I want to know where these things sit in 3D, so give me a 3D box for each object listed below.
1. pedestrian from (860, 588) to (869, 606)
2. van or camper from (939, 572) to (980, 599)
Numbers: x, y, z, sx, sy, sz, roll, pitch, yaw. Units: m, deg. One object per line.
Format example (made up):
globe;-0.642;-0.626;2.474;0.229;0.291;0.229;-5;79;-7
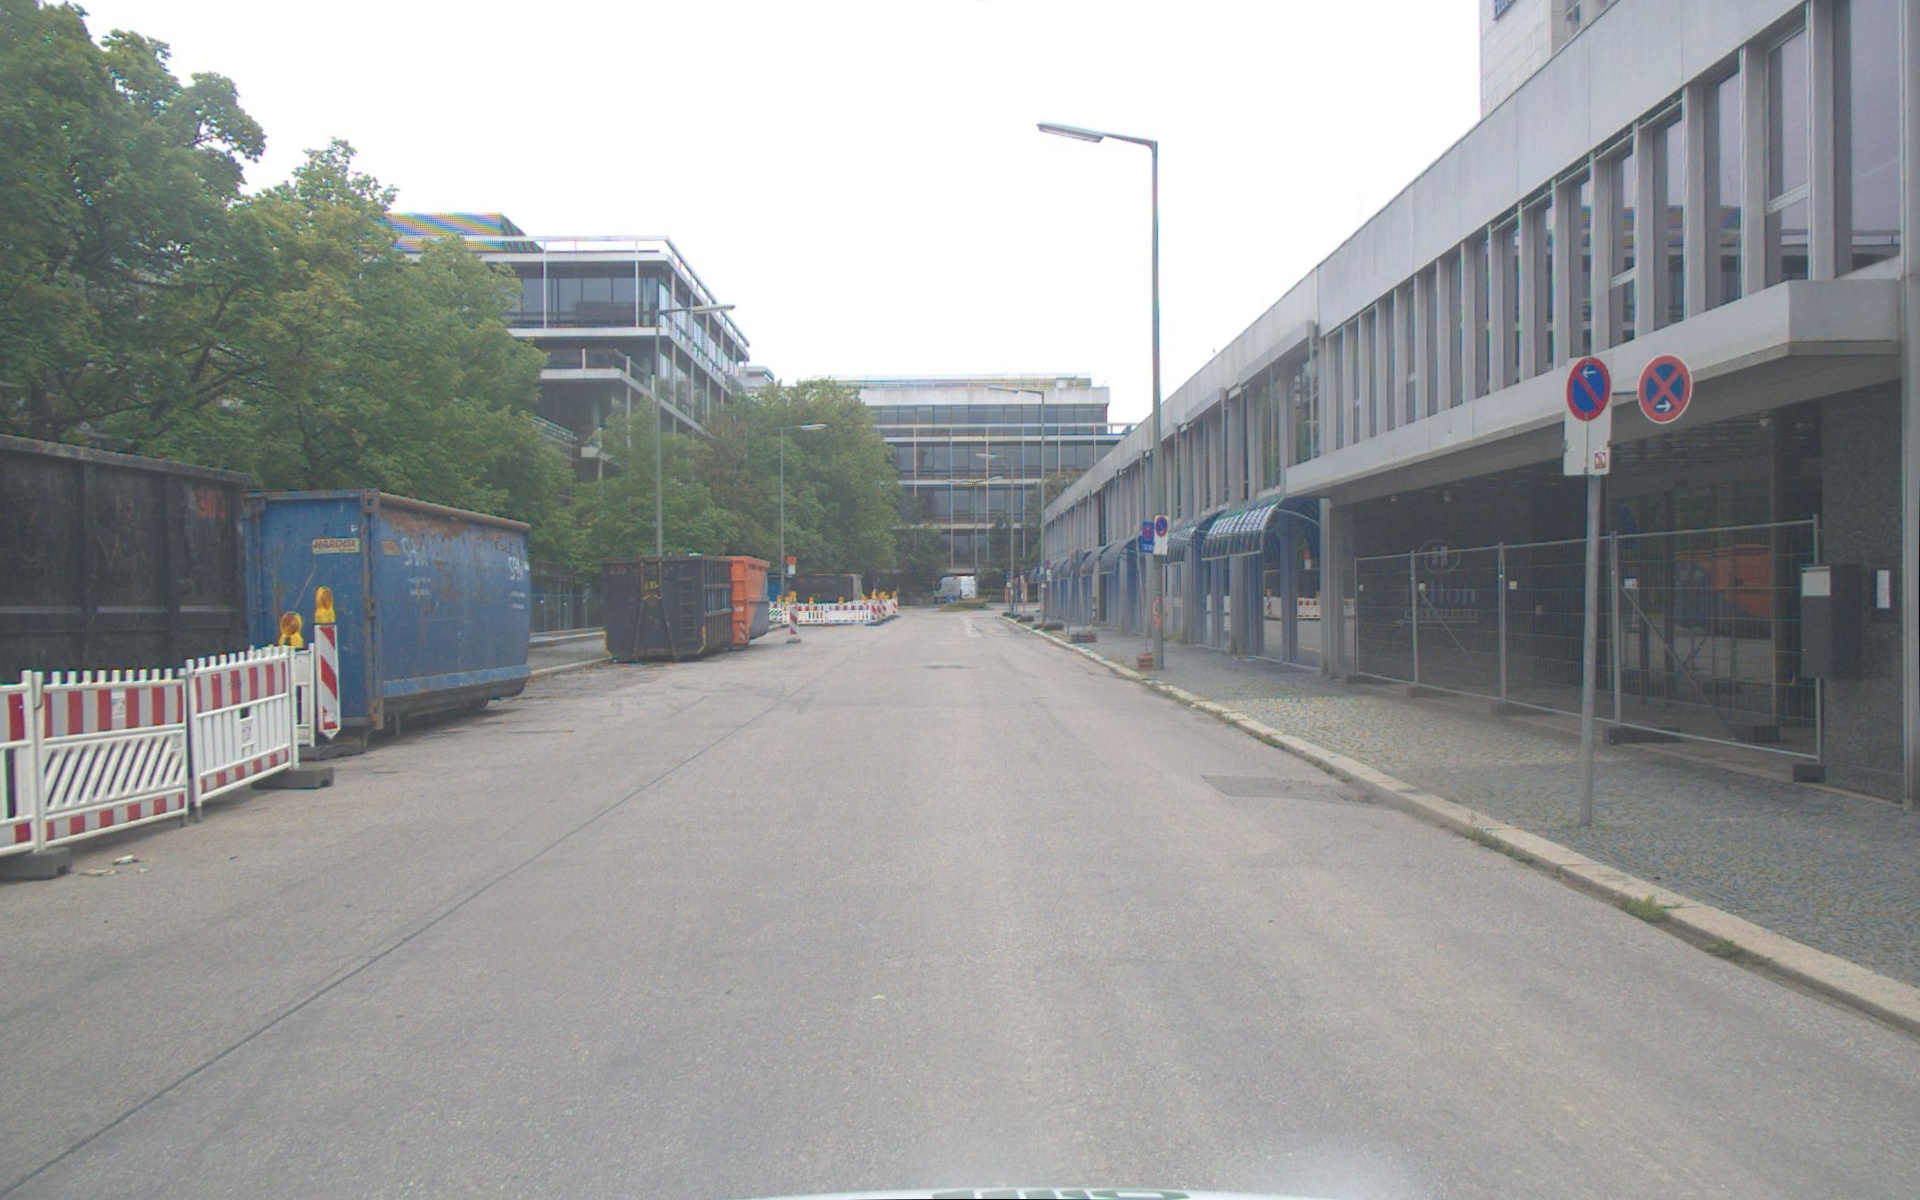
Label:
pedestrian;-9.176;-0.271;158.886;0.730;1.706;0.678;-1;0;-20
van or camper;-0.075;-1.396;160.132;2.059;2.535;5.026;-1;1;-26
